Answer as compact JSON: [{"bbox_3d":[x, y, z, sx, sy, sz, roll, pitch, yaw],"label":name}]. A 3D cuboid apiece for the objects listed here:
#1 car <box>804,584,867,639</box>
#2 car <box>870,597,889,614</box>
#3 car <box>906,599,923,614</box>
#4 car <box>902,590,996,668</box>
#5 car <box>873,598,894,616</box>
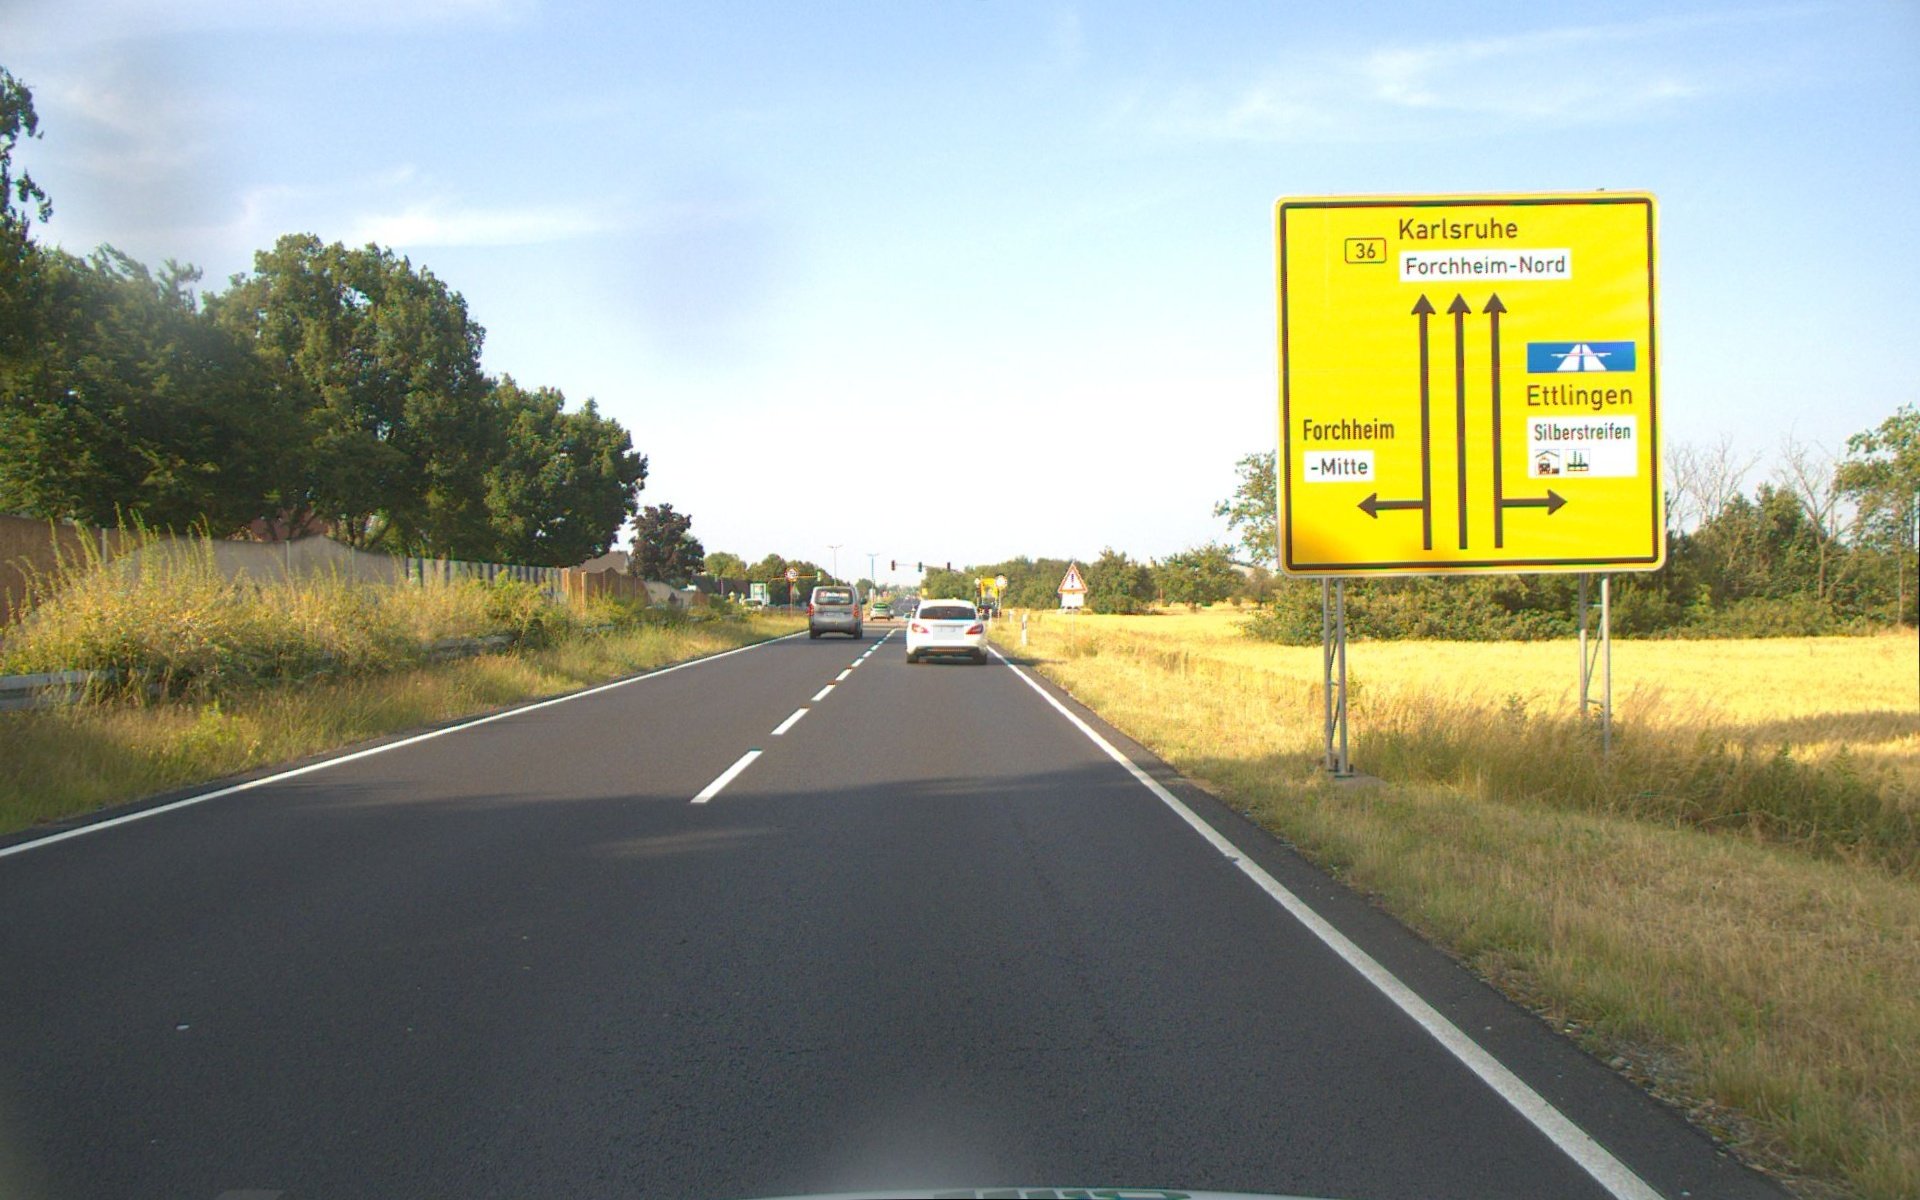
[{"bbox_3d":[-4.546,0.386,61.088,1.984,1.925,4.957,1,0,-1],"label":"car"},{"bbox_3d":[-8.469,0.565,173.859,1.741,1.695,3.659,1,0,-5],"label":"car"},{"bbox_3d":[-5.376,0.800,194.324,1.801,1.713,4.000,1,0,1],"label":"car"},{"bbox_3d":[-0.272,0.575,34.519,1.856,1.535,3.998,0,0,-2],"label":"car"},{"bbox_3d":[-6.432,0.571,139.698,1.682,1.518,3.583,1,0,-1],"label":"car"}]
